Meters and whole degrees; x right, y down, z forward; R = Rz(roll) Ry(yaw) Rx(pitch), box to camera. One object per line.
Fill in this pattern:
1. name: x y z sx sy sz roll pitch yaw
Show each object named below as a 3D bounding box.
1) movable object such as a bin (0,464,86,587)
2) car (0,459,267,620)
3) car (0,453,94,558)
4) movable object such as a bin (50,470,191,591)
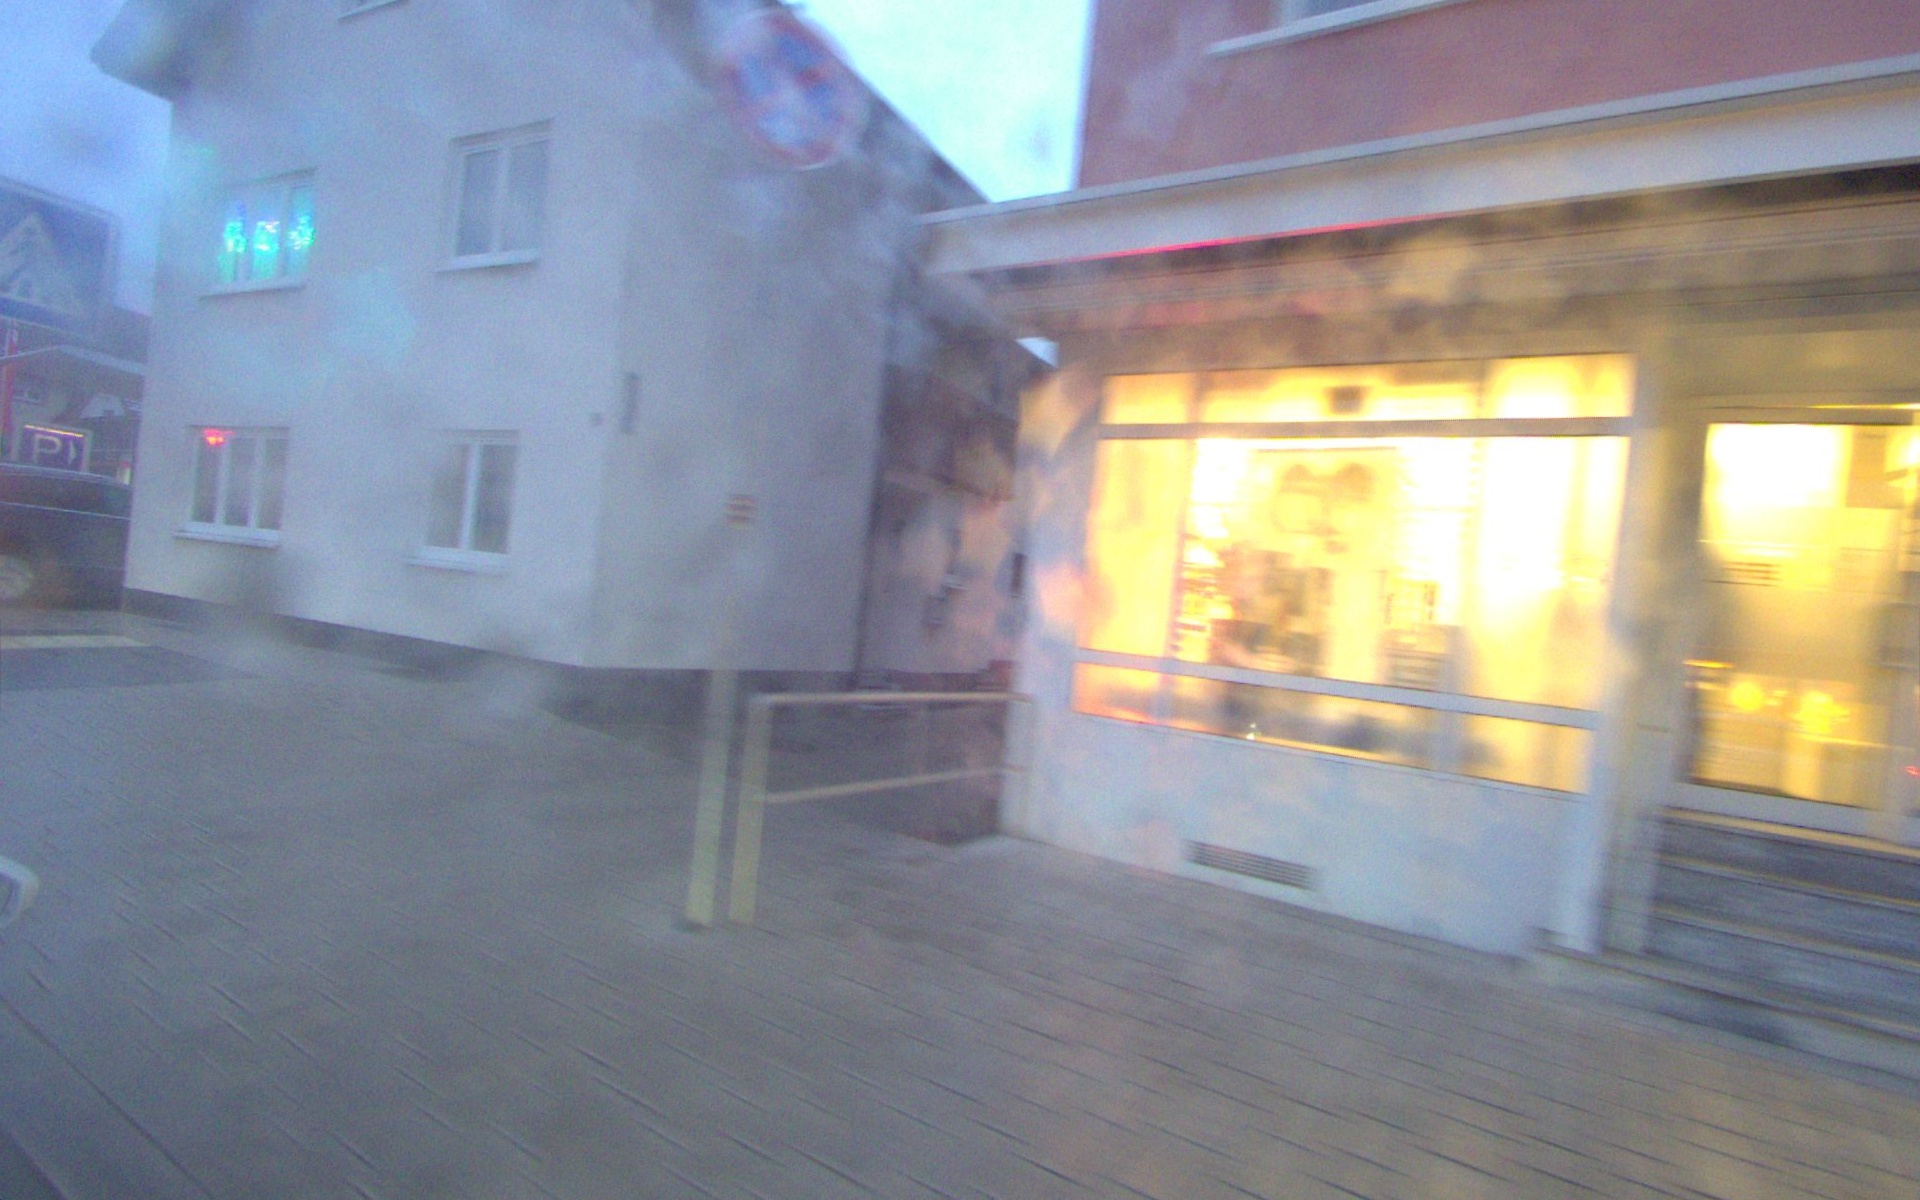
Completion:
1. movable object such as a bin: -13.762 -1.112 14.468 1.240 1.665 1.394 7 2 30
2. car: -11.574 -0.807 12.814 1.961 1.643 4.004 7 -2 18
3. car: -21.478 -2.189 21.583 1.972 2.076 4.083 7 1 41
4. movable object such as a bin: -13.003 -1.063 15.602 1.165 1.666 1.286 7 2 30
